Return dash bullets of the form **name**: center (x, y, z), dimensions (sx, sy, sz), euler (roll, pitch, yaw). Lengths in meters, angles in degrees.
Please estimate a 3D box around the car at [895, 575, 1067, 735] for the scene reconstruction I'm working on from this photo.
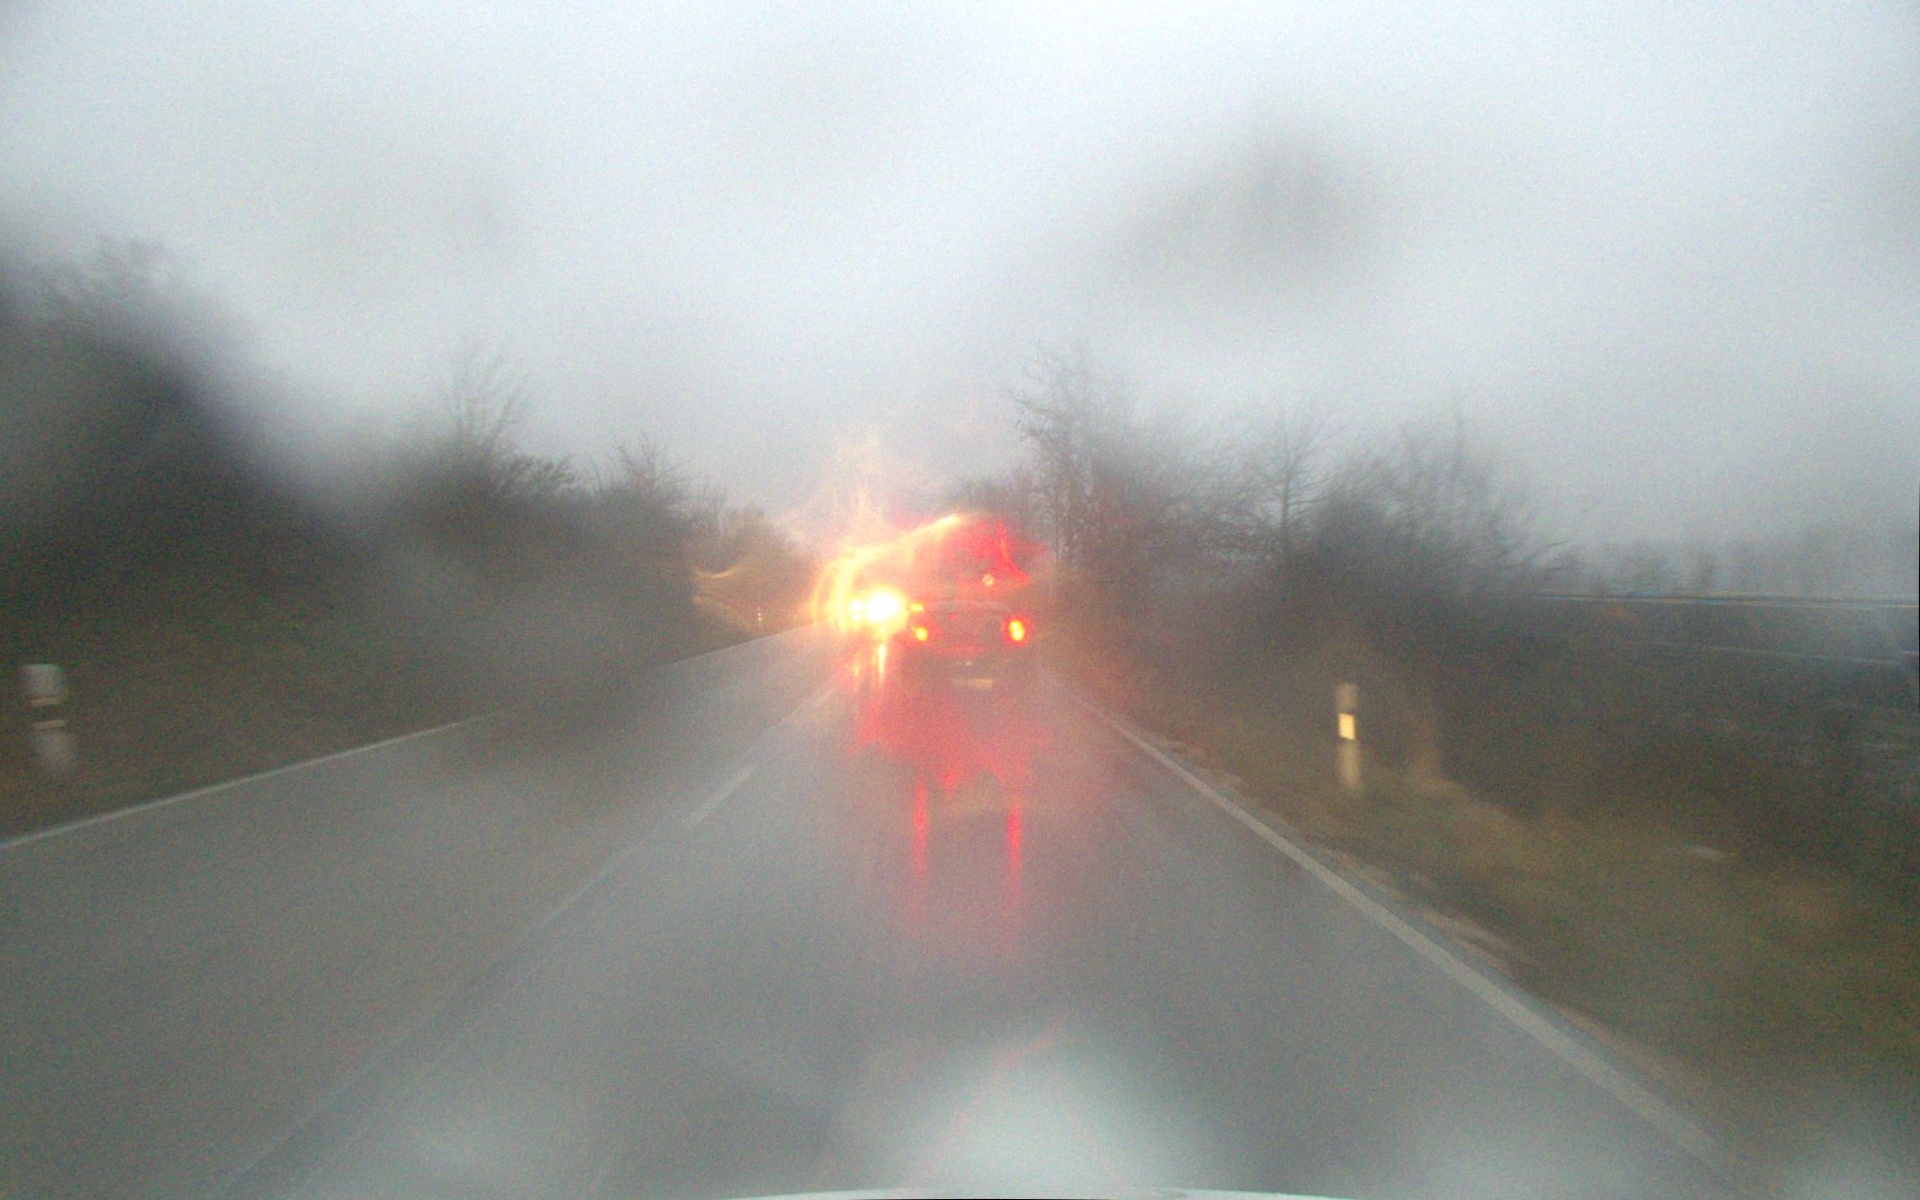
- **car**: center (0.227, 0.637, 21.145), dimensions (1.953, 1.816, 3.999), euler (1, 0, -1)

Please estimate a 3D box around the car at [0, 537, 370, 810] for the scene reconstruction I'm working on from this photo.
- **car**: center (-6.363, 0.490, 13.090), dimensions (1.953, 1.816, 3.999), euler (1, 0, -1)

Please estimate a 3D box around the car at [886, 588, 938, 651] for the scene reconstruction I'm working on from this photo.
- **car**: center (-1.483, 0.596, 52.321), dimensions (1.542, 1.908, 3.708), euler (1, 0, -1)
